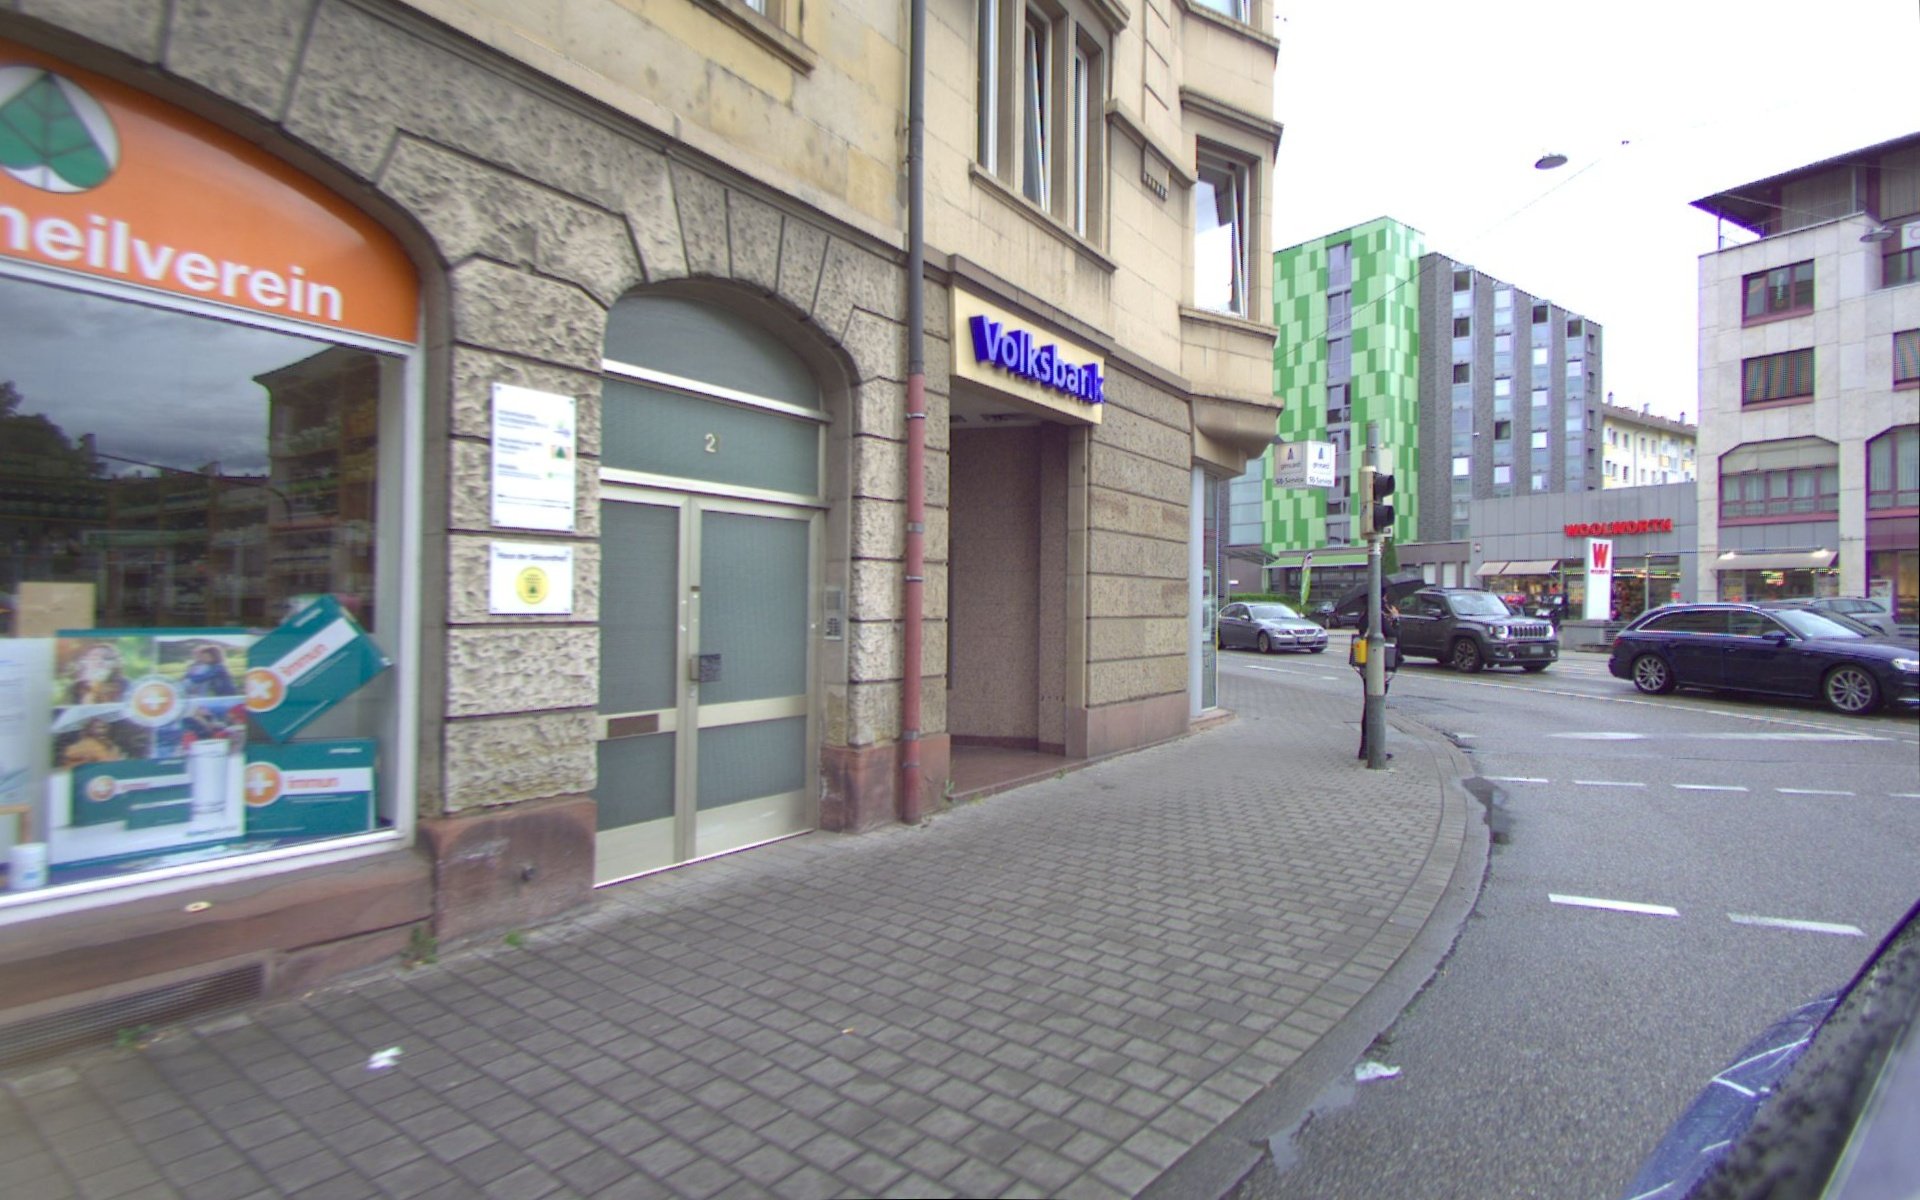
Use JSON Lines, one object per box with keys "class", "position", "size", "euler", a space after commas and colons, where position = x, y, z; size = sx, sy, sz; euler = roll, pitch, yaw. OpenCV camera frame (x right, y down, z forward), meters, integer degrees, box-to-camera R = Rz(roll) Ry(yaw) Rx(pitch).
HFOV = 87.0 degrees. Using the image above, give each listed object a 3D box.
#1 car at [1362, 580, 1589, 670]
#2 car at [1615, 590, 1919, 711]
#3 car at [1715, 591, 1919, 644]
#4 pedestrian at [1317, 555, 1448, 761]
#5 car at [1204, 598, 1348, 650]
{"class": "car", "position": [10.589, 0.444, 21.194], "size": [1.892, 1.681, 4.209], "euler": [0, 0, -15]}
{"class": "car", "position": [11.922, 0.581, 14.230], "size": [1.893, 1.434, 4.538], "euler": [0, 0, -12]}
{"class": "car", "position": [23.440, 0.461, 27.688], "size": [4.120, 1.378, 1.933], "euler": [0, 0, 0]}
{"class": "pedestrian", "position": [4.046, 0.504, 9.651], "size": [0.948, 1.802, 1.170], "euler": [0, 0, 34]}
{"class": "car", "position": [8.766, 0.621, 28.490], "size": [1.892, 1.299, 4.209], "euler": [0, 1, -15]}
